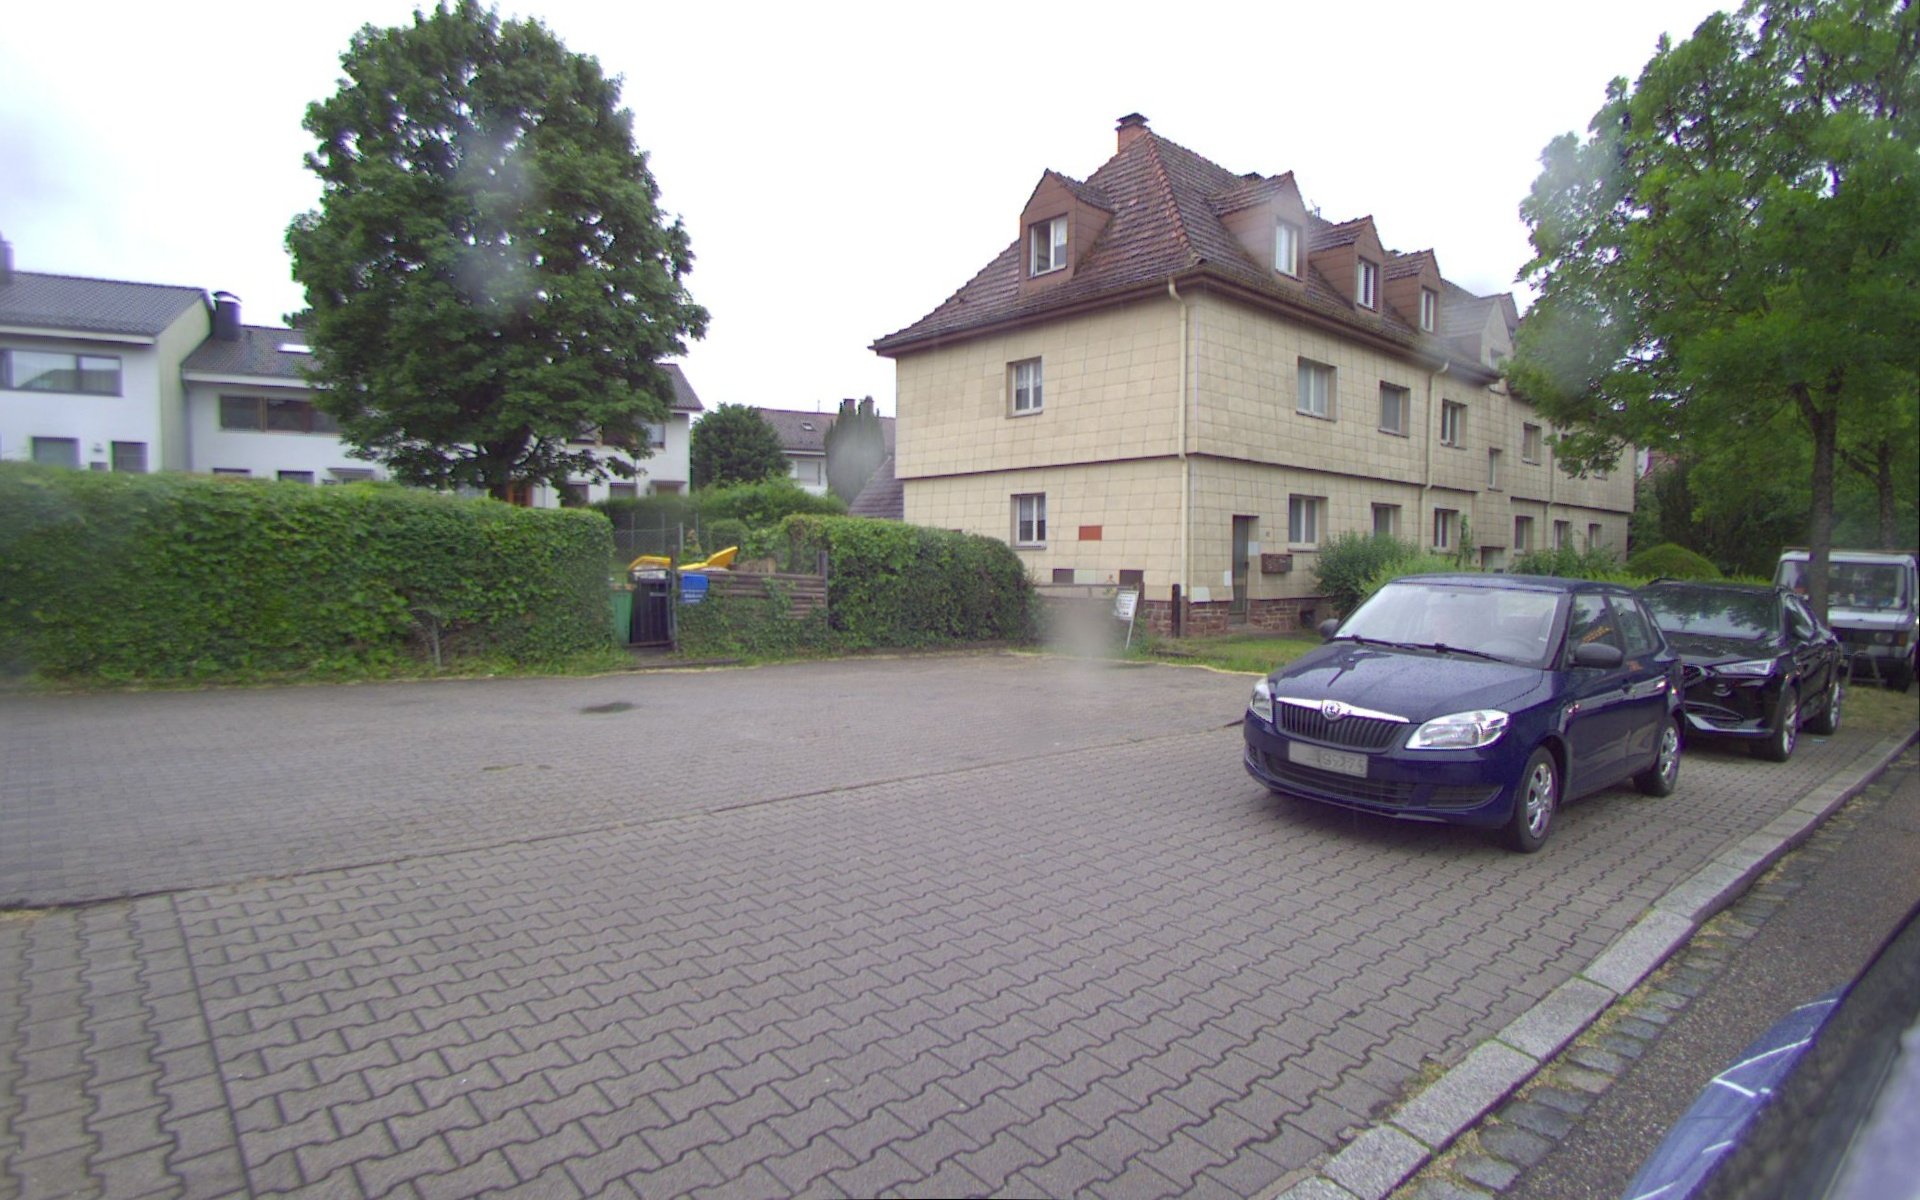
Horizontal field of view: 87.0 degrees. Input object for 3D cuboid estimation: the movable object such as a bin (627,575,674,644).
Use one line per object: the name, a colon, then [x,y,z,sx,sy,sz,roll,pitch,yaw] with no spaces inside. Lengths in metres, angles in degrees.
movable object such as a bin: [-4.428,0.128,14.489,0.441,0.954,0.539,0,0,-45]

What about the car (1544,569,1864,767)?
car: [7.365,0.491,9.874,3.932,1.481,1.719,-1,4,-42]

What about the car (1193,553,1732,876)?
car: [3.440,0.482,6.608,3.930,1.441,1.719,-1,4,-41]

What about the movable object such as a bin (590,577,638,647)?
movable object such as a bin: [-4.839,0.161,14.141,0.441,0.954,0.539,0,0,-45]

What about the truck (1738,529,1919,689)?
truck: [14.867,0.096,16.703,5.653,2.224,1.998,0,2,-40]

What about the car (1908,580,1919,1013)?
car: [5.630,0.691,4.309,4.240,1.548,1.881,0,-1,-41]
